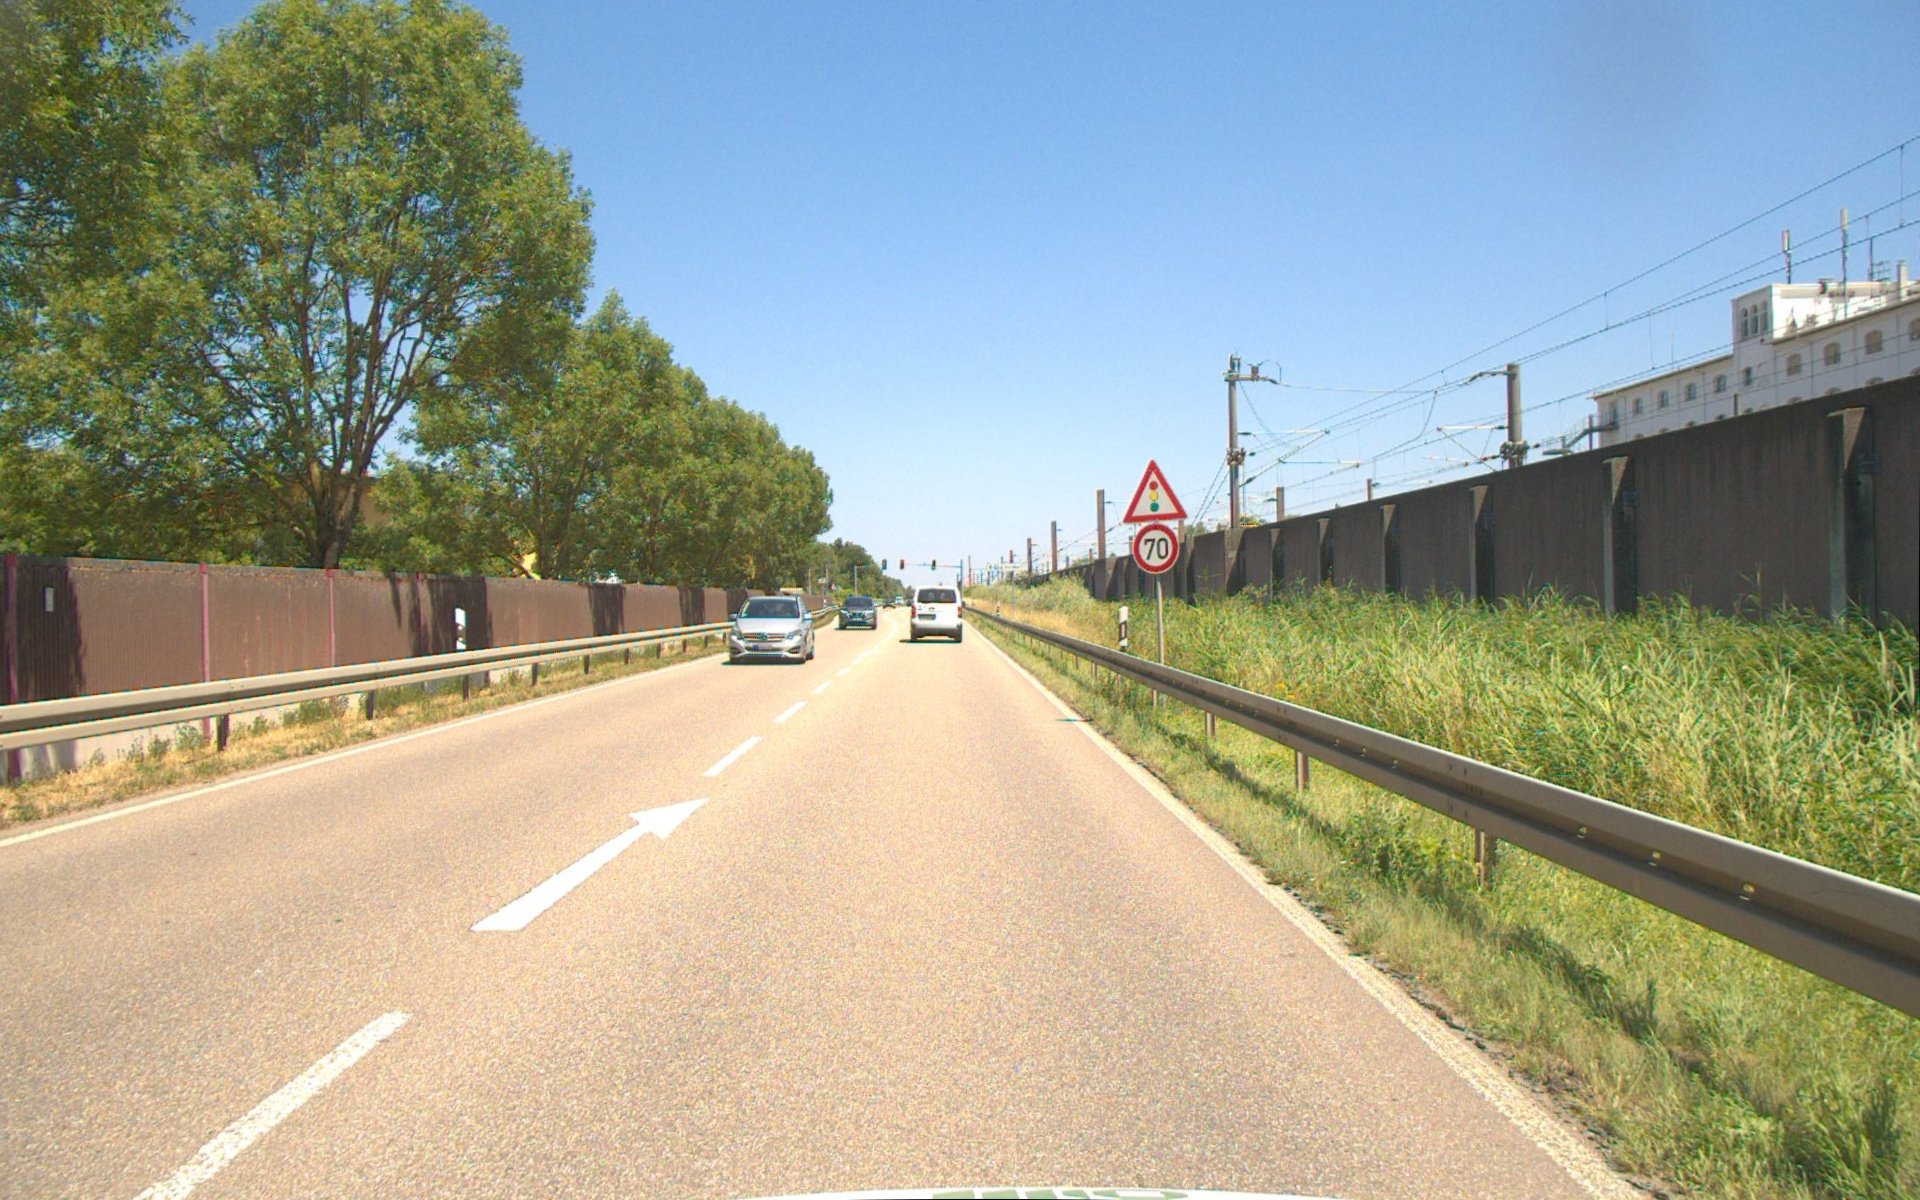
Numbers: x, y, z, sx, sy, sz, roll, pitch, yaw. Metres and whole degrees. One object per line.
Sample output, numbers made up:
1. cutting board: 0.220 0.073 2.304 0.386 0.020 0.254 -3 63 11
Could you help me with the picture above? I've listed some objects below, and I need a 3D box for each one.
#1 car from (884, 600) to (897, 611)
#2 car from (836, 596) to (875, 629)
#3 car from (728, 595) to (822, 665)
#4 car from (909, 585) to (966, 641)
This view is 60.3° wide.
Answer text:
1. car: -10.028 0.783 239.439 1.783 1.624 3.998 1 0 -2
2. car: -5.077 0.607 80.661 1.753 1.552 4.388 0 0 -2
3. car: -4.317 0.674 39.185 1.753 1.552 4.389 0 0 0
4. car: -0.795 0.434 58.683 1.953 1.882 3.999 1 0 -1
